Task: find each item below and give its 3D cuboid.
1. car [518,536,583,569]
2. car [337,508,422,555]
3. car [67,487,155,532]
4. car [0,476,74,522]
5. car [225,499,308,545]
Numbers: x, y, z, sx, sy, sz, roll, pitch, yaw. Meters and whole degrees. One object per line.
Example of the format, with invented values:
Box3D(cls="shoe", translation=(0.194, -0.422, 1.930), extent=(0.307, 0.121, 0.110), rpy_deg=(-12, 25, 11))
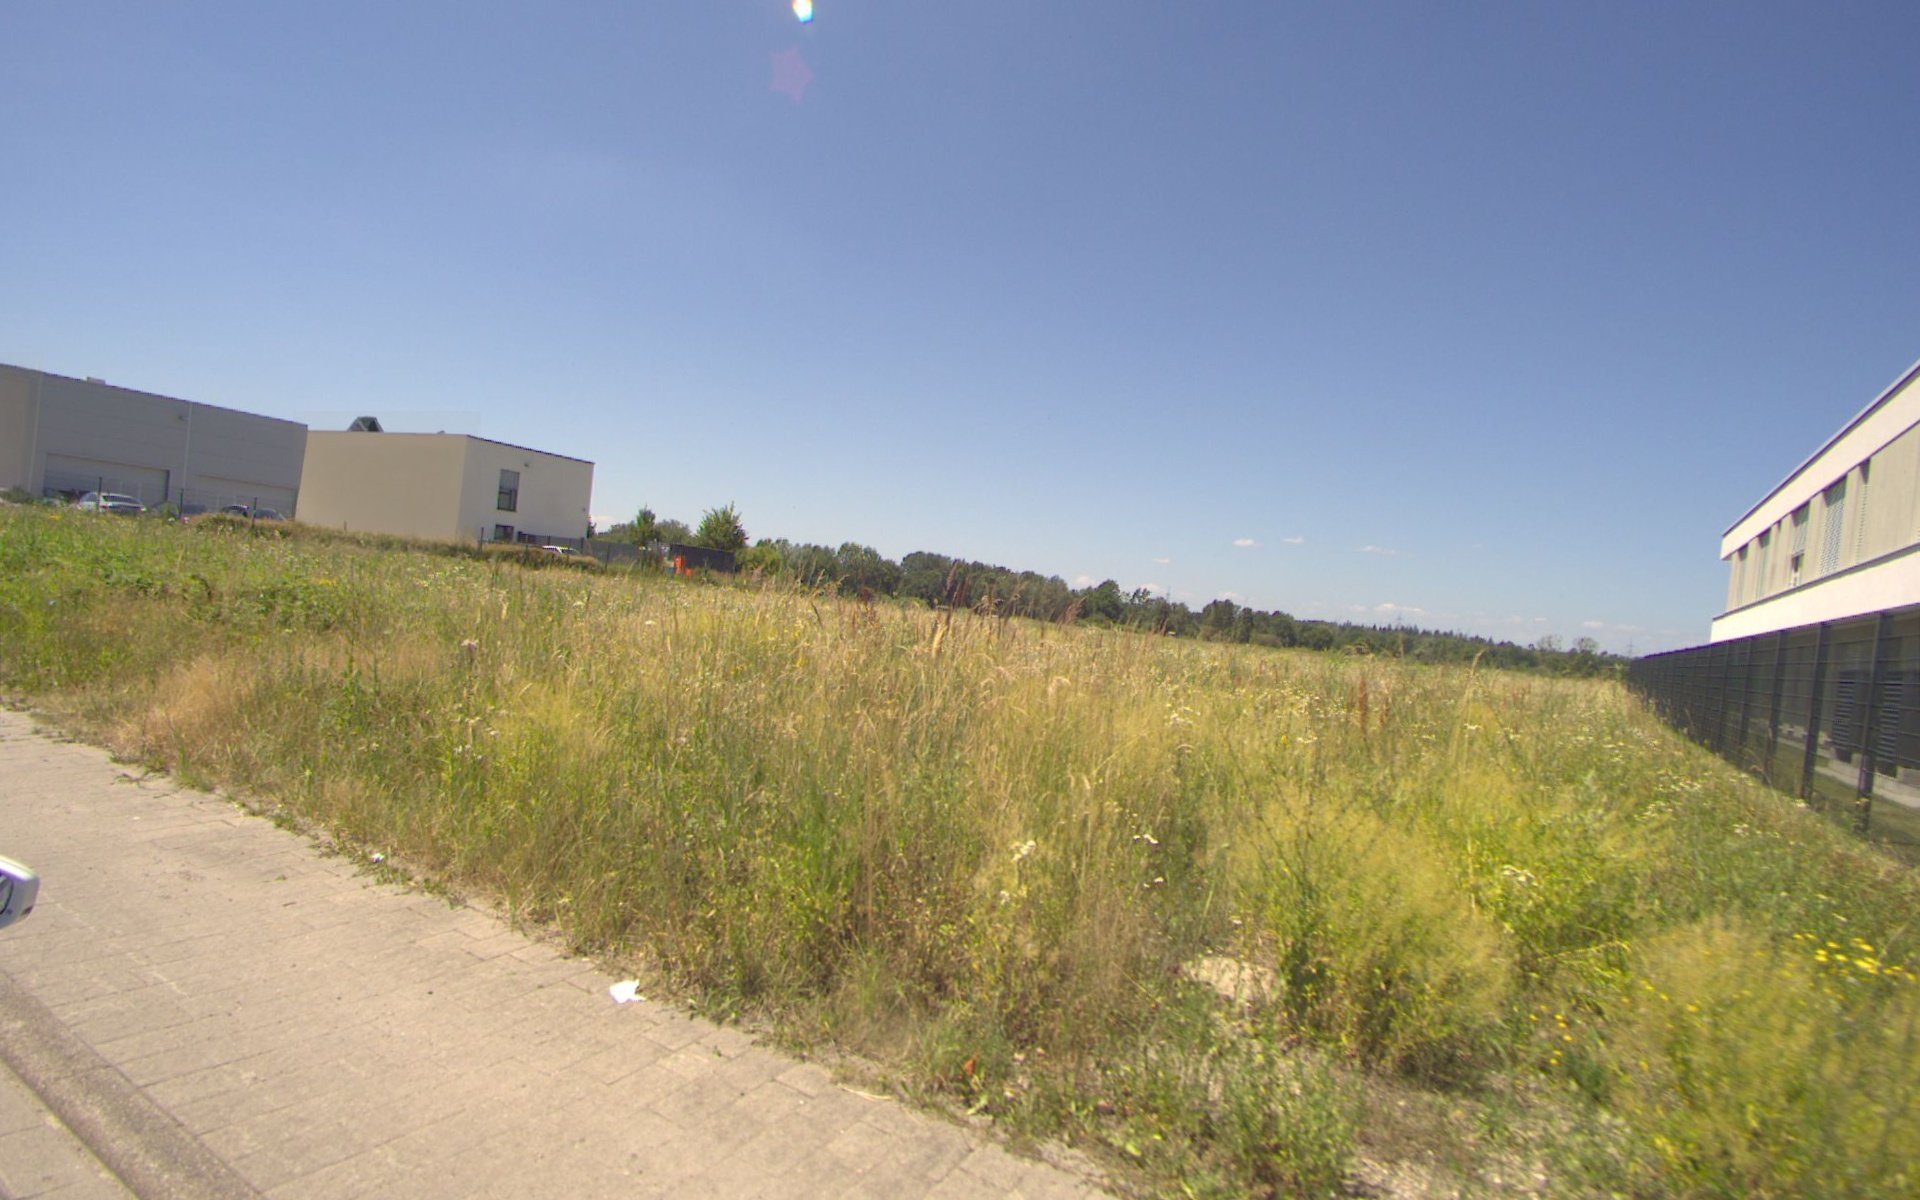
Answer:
Box3D(cls="car", translation=(-23.934, -2.763, 58.775), extent=(3.587, 1.546, 1.527), rpy_deg=(6, 1, 31))
Box3D(cls="car", translation=(-28.283, -3.343, 48.980), extent=(4.057, 1.870, 1.750), rpy_deg=(6, 1, 31))
Box3D(cls="car", translation=(-33.117, -3.531, 39.218), extent=(3.481, 1.415, 1.516), rpy_deg=(6, 1, 31))
Box3D(cls="car", translation=(-34.743, -3.803, 37.588), extent=(3.276, 1.431, 1.458), rpy_deg=(6, 1, 31))
Box3D(cls="car", translation=(-30.512, -3.444, 44.235), extent=(3.720, 1.655, 1.516), rpy_deg=(6, 1, 31))
